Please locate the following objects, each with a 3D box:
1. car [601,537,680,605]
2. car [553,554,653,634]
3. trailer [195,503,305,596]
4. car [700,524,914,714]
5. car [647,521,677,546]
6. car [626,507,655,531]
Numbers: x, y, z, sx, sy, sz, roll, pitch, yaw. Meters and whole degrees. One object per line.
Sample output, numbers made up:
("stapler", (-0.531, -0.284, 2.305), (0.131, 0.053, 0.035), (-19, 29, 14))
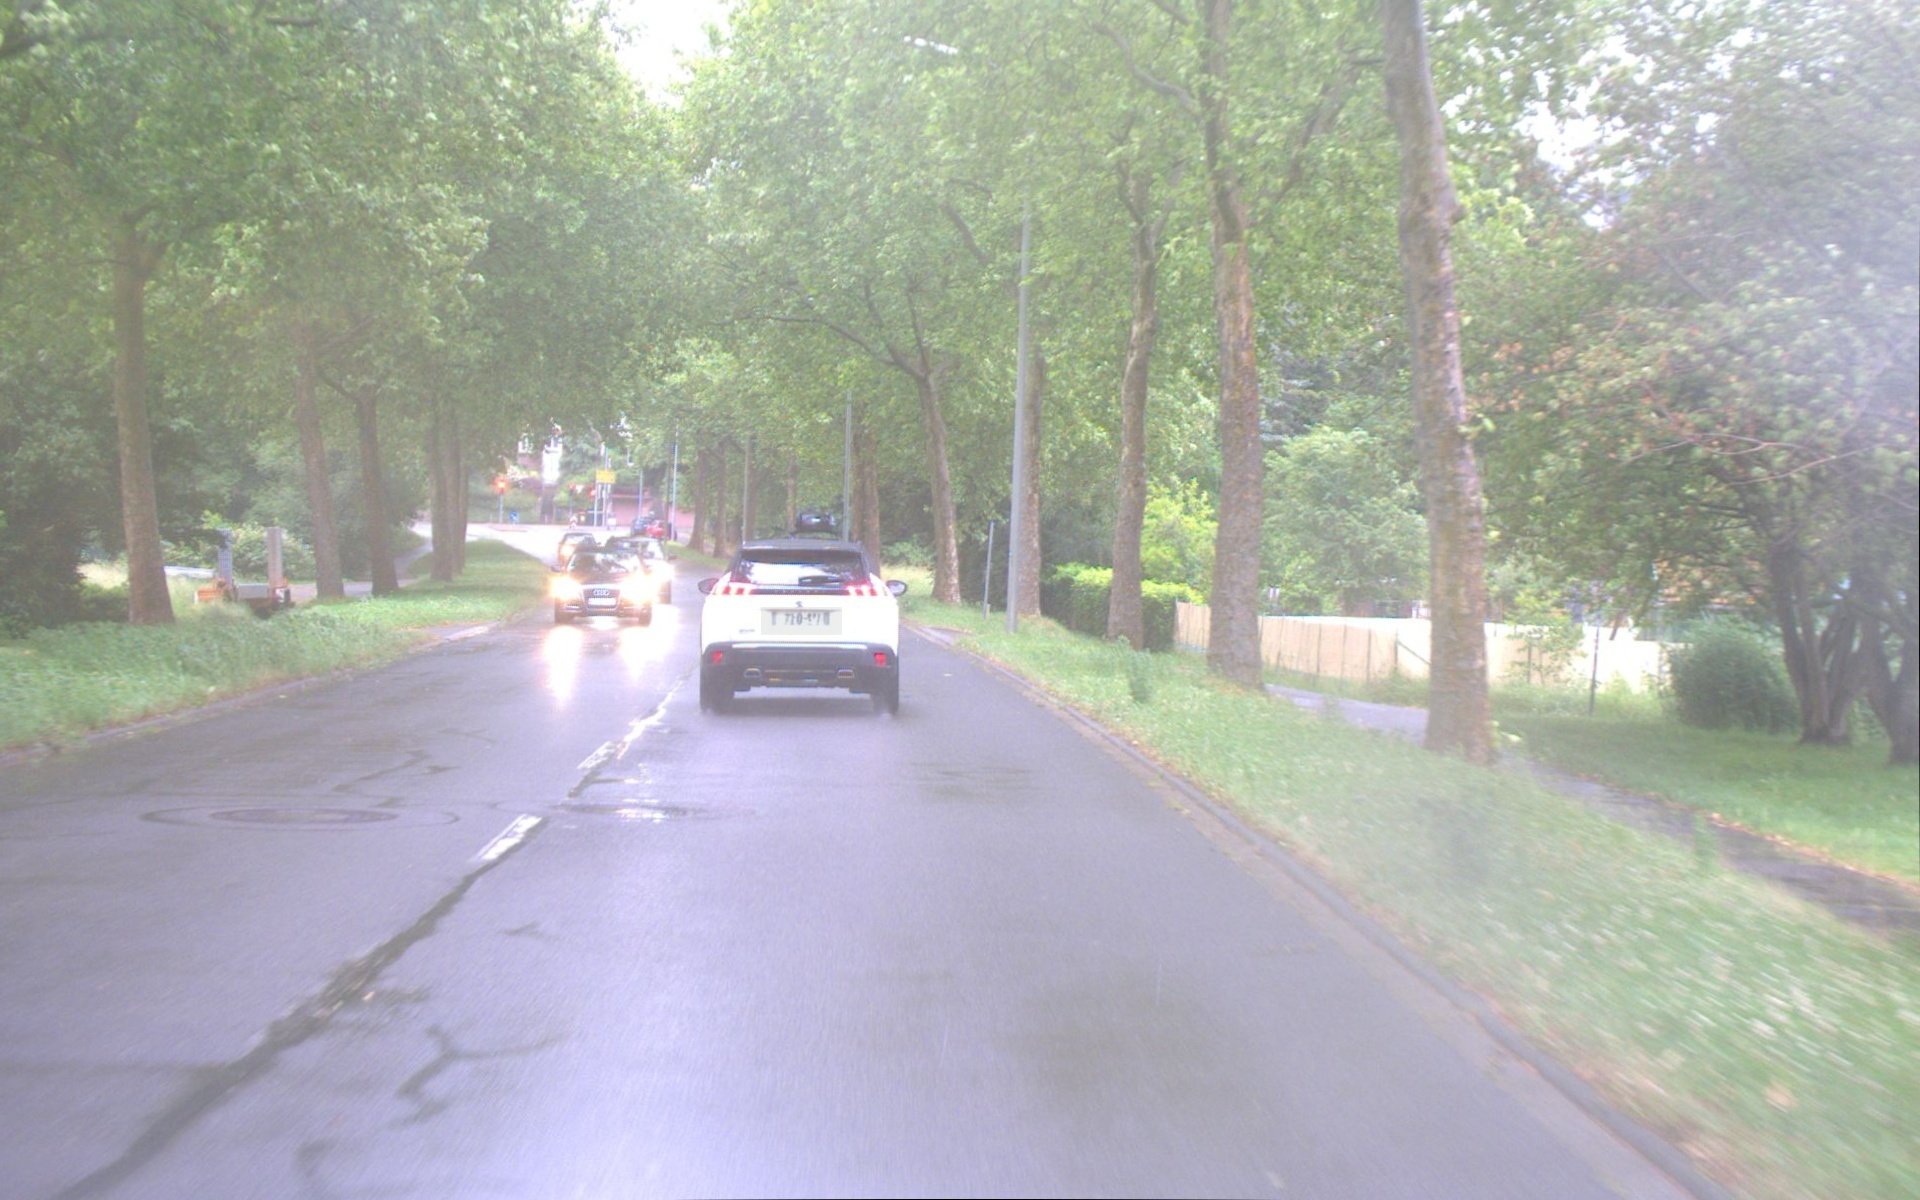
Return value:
("car", (-7.894, -0.733, 85.095), (1.731, 1.582, 4.311), (2, 1, -3))
("car", (-6.634, -0.138, 64.161), (1.731, 1.419, 4.226), (1, 1, -4))
("trailer", (-20.758, -1.493, 100.733), (2.484, 2.558, 5.333), (2, 1, -5))
("car", (-1.420, 0.124, 31.521), (1.793, 1.573, 3.845), (2, 1, -3))
("car", (-19.791, -4.388, 228.242), (1.827, 1.590, 3.654), (2, 1, -3))
("car", (-22.094, -5.580, 237.943), (1.827, 1.590, 3.654), (2, 1, -3))
